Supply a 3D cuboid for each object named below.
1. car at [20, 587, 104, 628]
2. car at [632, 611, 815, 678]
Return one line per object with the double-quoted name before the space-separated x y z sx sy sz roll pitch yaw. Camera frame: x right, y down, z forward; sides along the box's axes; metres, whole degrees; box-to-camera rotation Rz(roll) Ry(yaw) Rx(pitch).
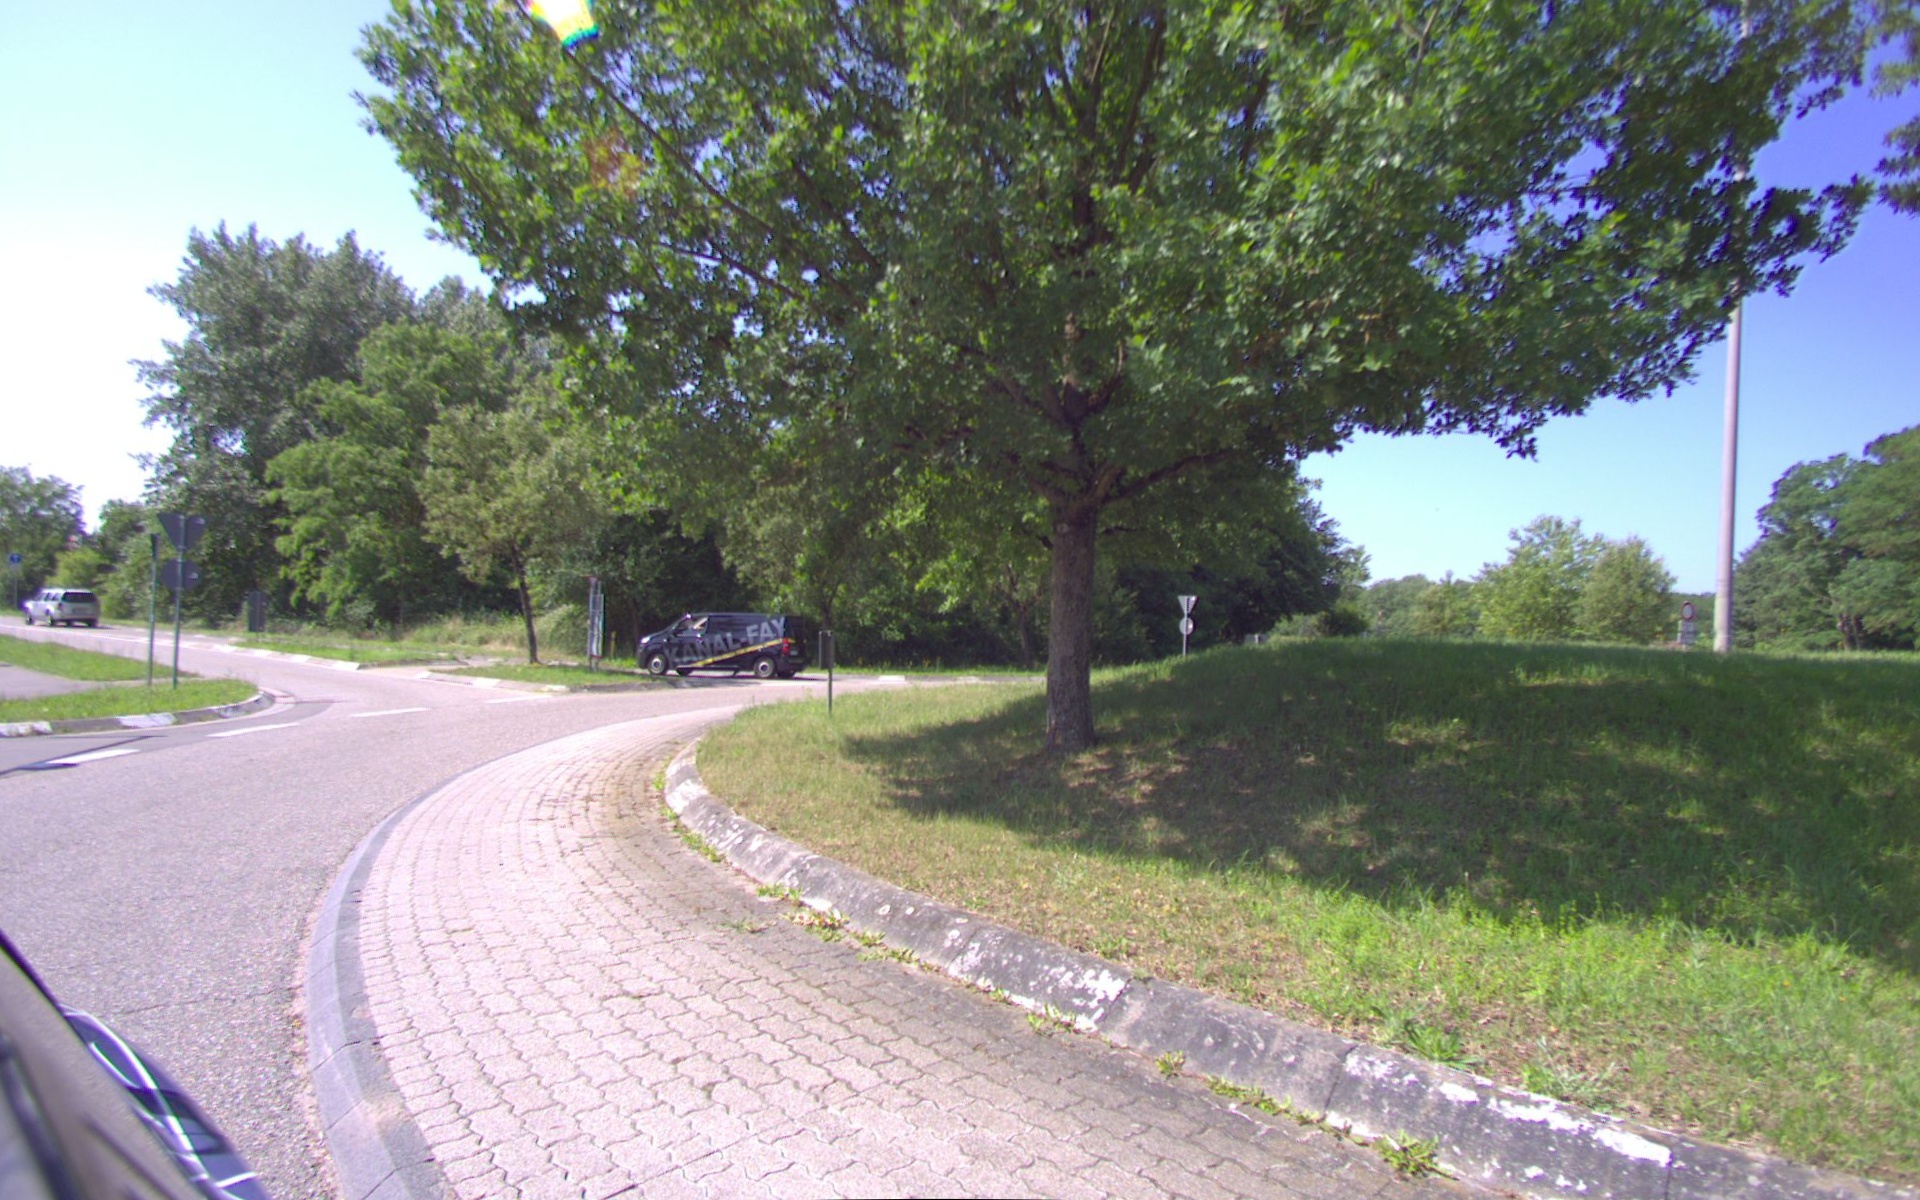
"car" -42.955 0.347 48.393 4.584 1.829 1.878 1 -2 34
"car" -6.735 1.240 29.120 4.665 1.727 2.095 1 -1 10
